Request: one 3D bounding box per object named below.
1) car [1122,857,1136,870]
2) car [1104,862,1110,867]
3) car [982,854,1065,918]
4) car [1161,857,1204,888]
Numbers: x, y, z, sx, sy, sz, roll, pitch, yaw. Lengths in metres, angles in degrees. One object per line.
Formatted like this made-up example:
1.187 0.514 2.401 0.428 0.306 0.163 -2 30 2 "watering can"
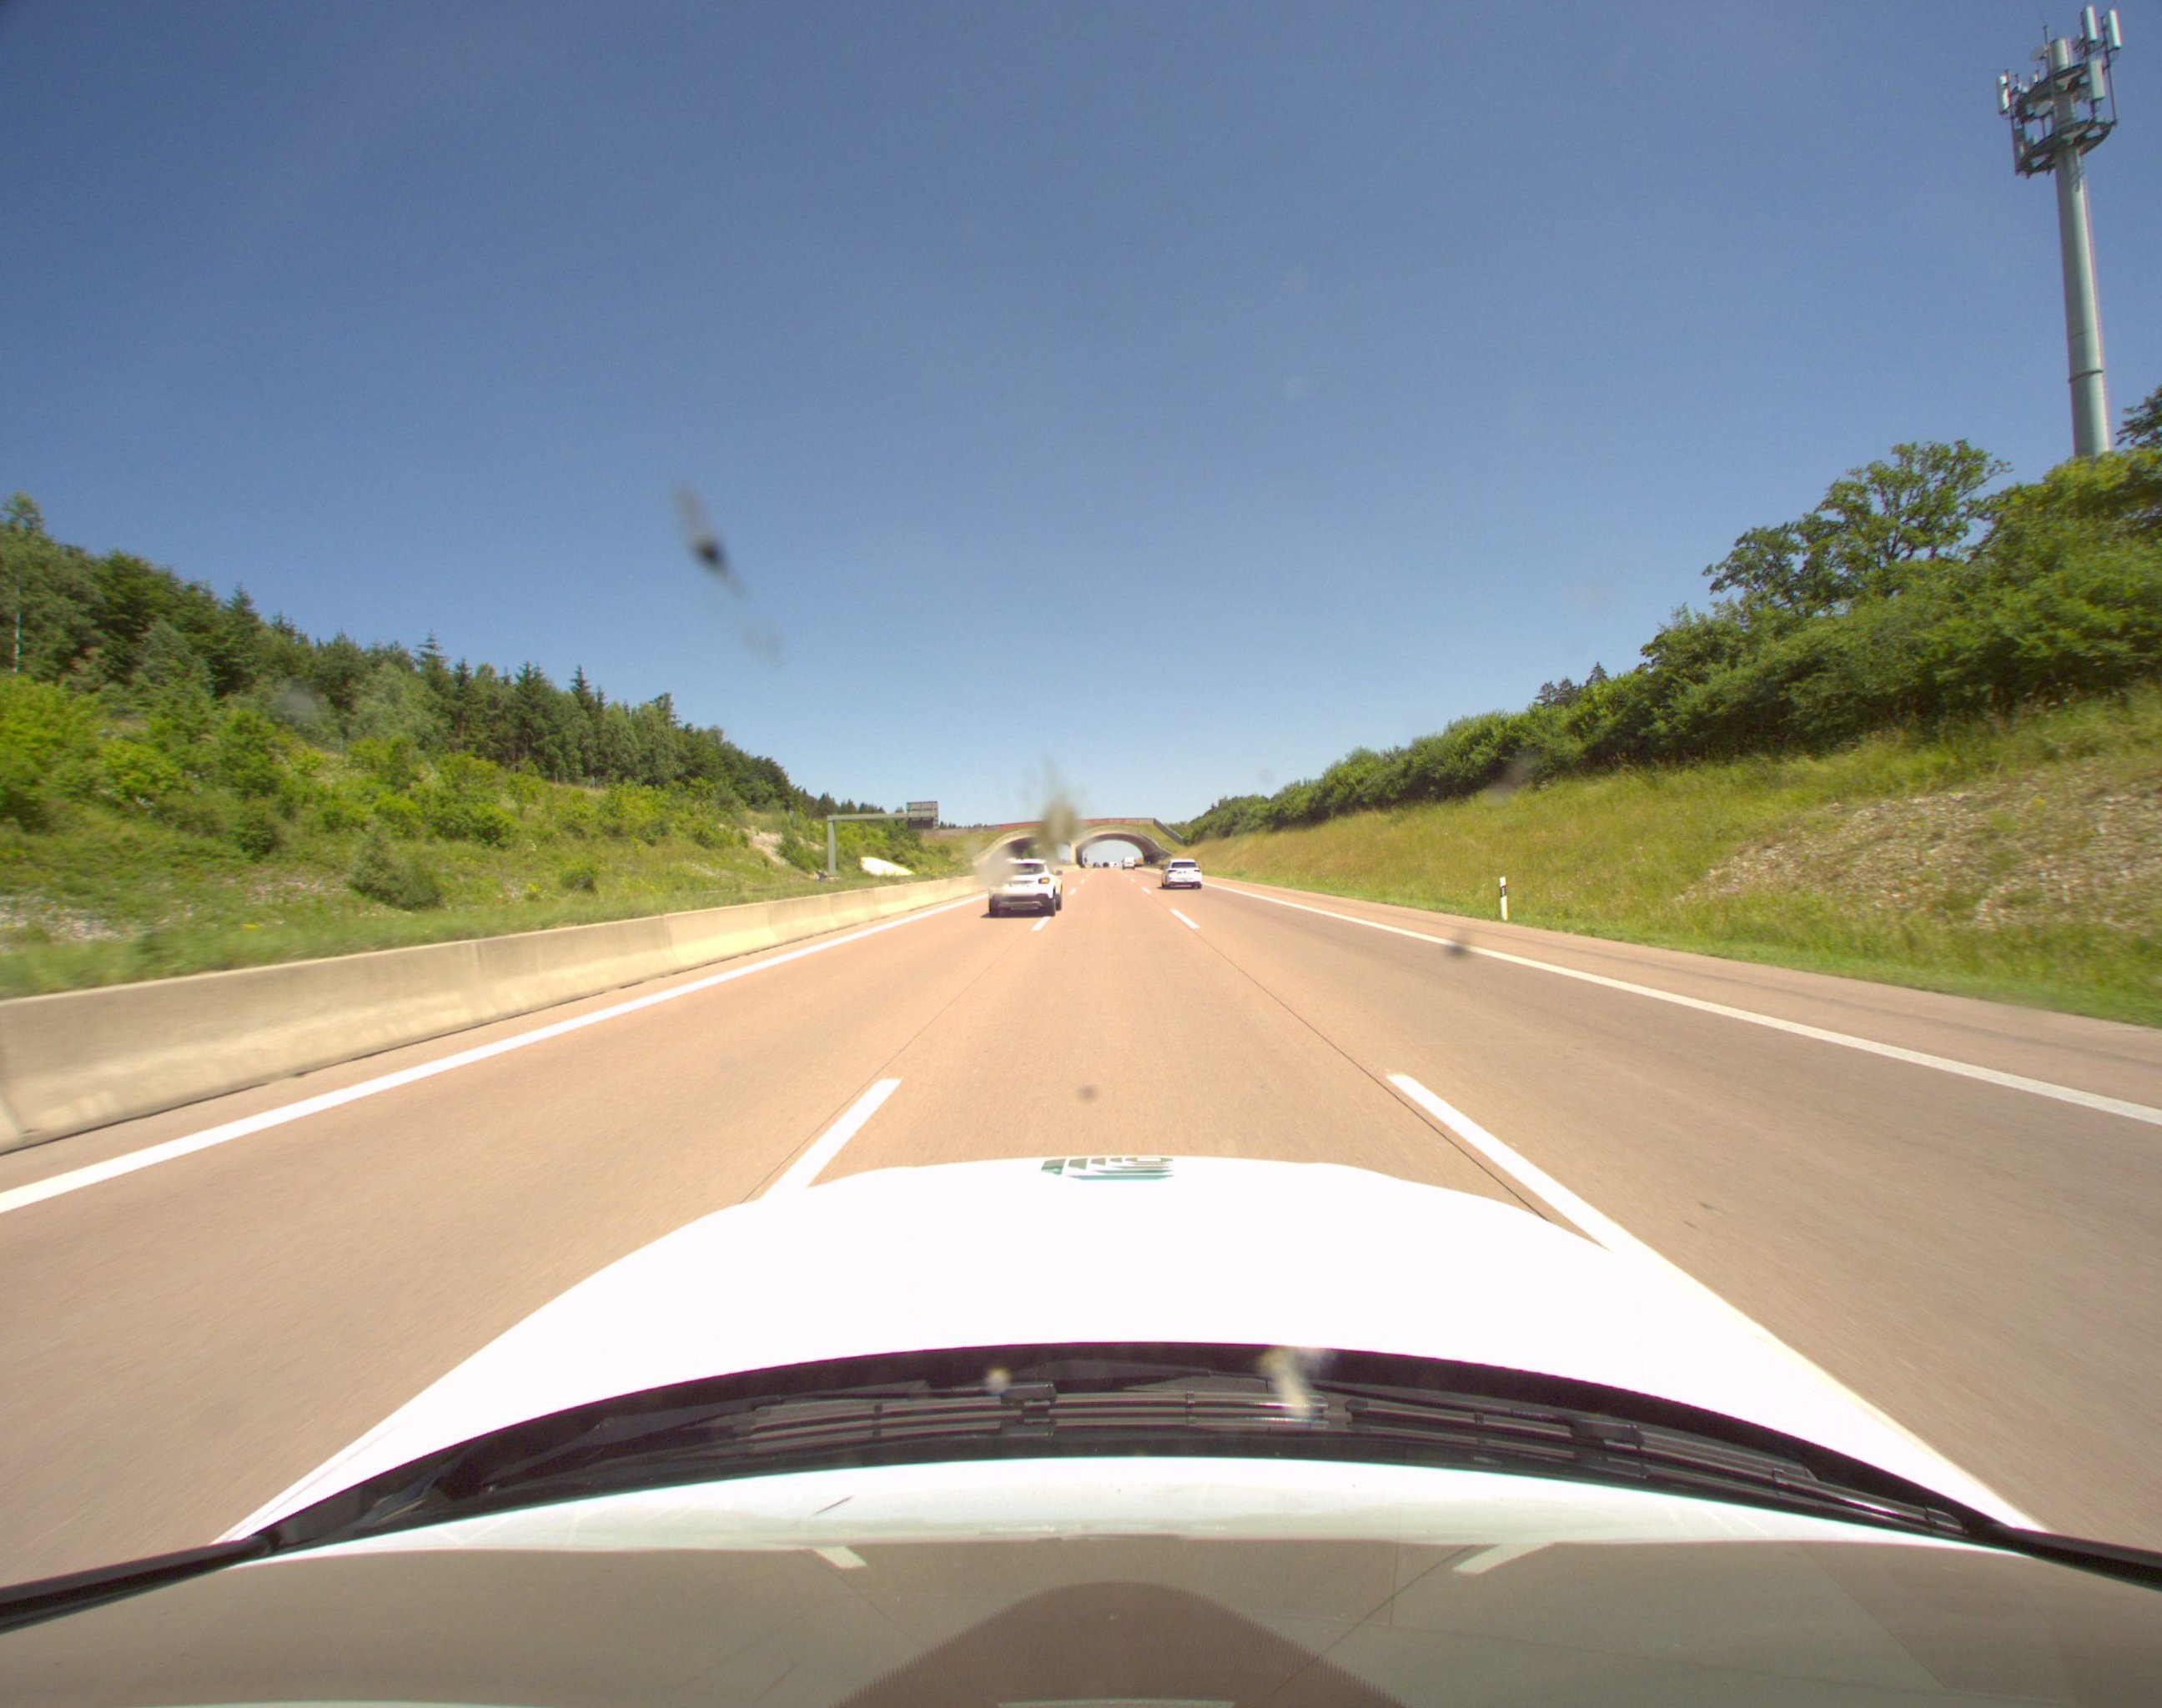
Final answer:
7.493 1.478 127.782 2.101 2.053 4.004 -1 1 3 "car"
7.635 3.086 238.229 1.883 1.463 4.002 0 0 2 "car"
-1.521 0.816 23.337 1.872 1.607 4.835 -1 0 1 "car"
4.967 0.899 40.396 1.883 1.398 4.004 0 0 3 "car"
